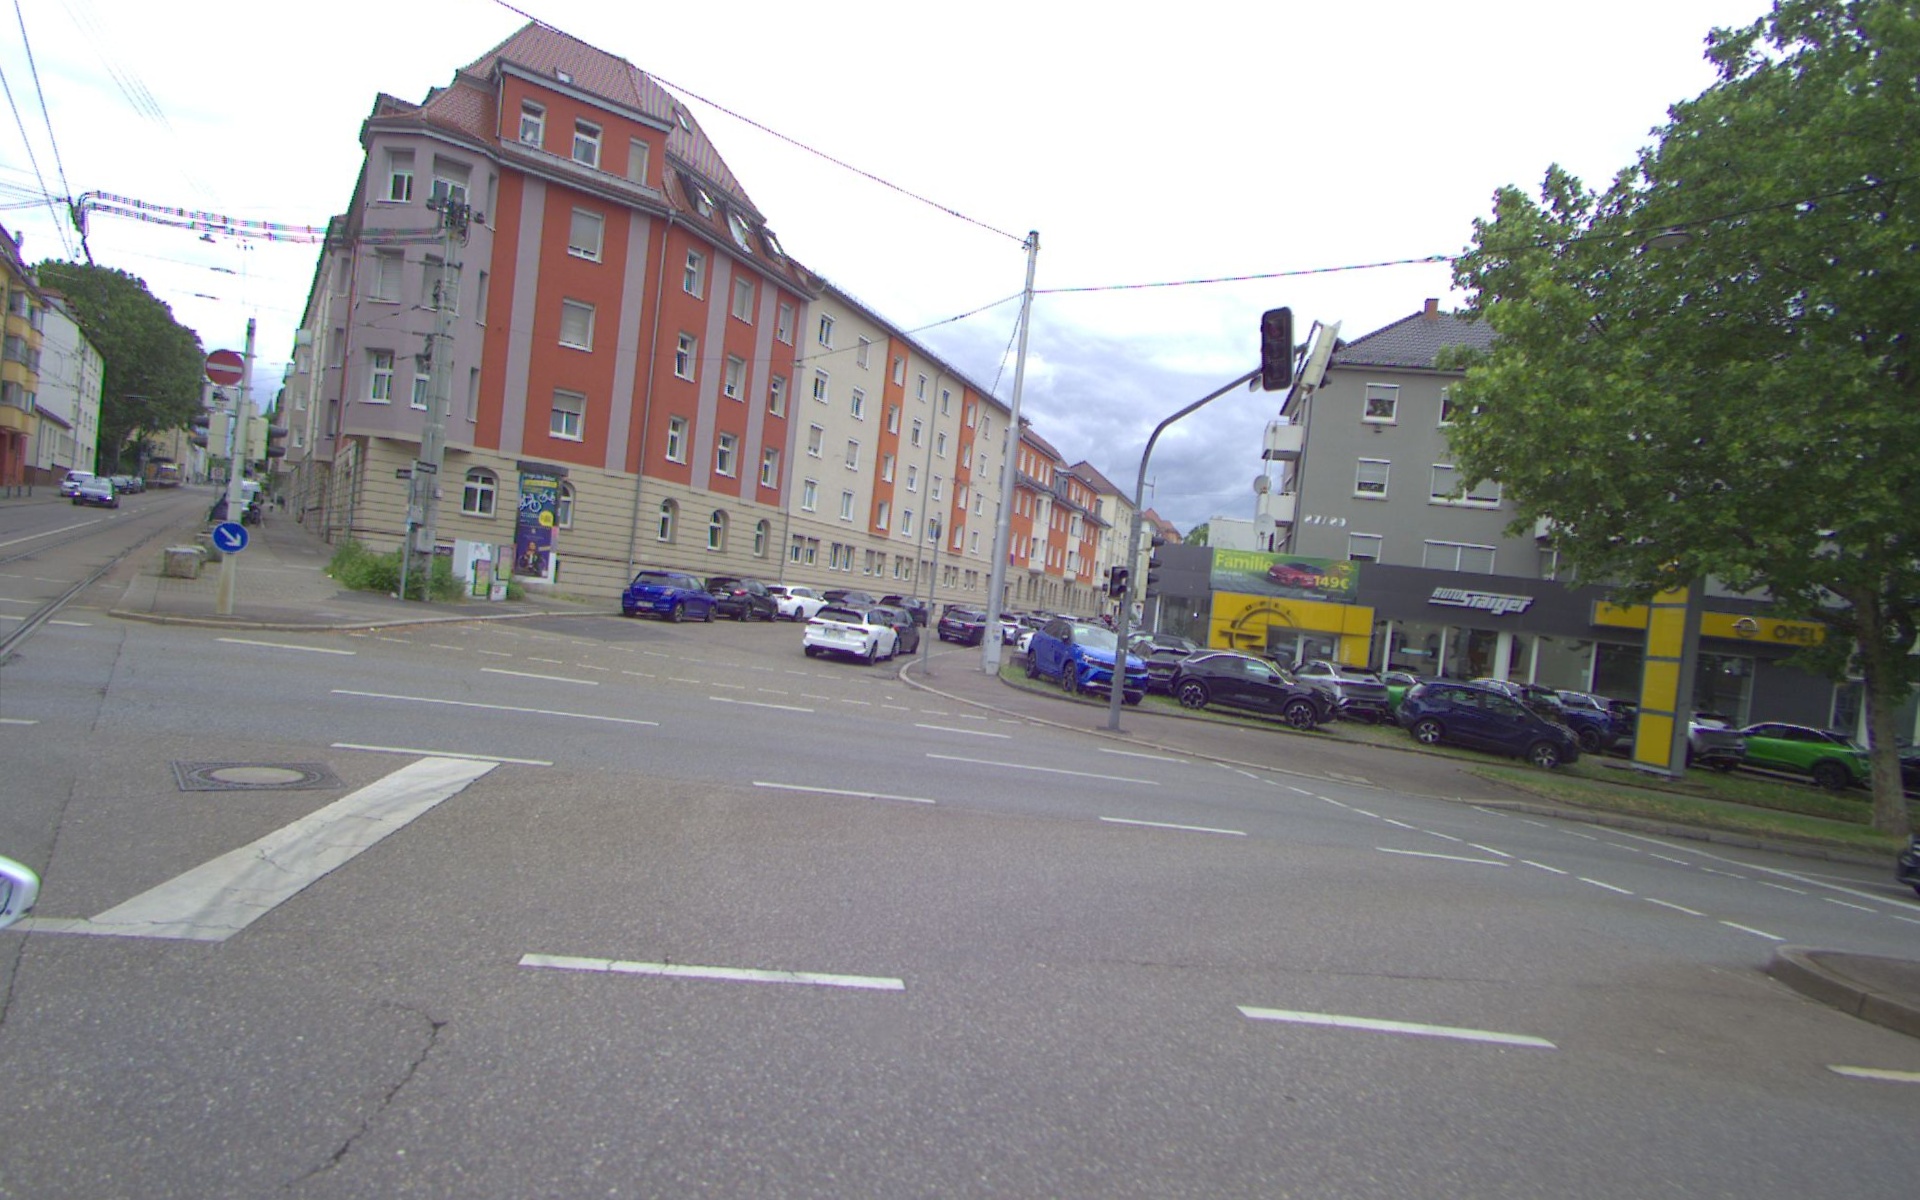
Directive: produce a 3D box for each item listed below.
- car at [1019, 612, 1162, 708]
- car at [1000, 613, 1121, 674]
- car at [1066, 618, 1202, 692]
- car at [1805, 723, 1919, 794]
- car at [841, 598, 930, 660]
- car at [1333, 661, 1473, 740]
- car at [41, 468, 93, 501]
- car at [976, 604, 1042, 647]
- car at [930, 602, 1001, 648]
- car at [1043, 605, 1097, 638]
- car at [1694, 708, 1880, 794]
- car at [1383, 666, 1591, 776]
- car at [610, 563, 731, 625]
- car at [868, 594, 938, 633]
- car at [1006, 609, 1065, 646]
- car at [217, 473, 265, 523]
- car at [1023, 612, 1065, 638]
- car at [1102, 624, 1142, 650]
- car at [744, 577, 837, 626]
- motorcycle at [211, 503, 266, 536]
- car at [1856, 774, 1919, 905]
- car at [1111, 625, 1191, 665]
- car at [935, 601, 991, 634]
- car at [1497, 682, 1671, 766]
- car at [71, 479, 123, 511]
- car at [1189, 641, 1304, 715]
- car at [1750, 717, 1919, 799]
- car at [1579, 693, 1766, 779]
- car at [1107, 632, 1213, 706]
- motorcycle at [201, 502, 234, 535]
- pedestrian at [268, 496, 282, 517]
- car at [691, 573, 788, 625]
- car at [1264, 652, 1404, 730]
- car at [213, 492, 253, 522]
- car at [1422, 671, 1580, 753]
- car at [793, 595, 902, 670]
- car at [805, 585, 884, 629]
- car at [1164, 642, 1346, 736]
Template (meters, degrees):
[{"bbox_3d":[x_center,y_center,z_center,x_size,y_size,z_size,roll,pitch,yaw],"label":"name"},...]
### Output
[{"bbox_3d":[2.995,1.358,24.085,1.801,1.597,4.245,9,1,-14],"label":"car"},{"bbox_3d":[3.723,1.570,36.878,4.040,1.554,1.794,9,1,13],"label":"car"},{"bbox_3d":[5.790,1.811,33.806,4.166,1.803,1.712,8,1,5],"label":"car"},{"bbox_3d":[26.732,4.615,28.467,1.849,1.523,3.954,7,0,-40],"label":"car"},{"bbox_3d":[-2.279,0.866,31.910,1.882,1.554,4.141,8,1,7],"label":"car"},{"bbox_3d":[12.404,2.768,28.498,1.830,1.569,3.997,8,0,-4],"label":"car"},{"bbox_3d":[-59.950,-7.728,67.593,1.983,1.712,3.961,9,-1,-35],"label":"car"},{"bbox_3d":[2.374,1.228,47.813,1.882,1.666,4.141,9,1,18],"label":"car"},{"bbox_3d":[0.297,1.053,42.599,1.882,1.554,4.141,9,1,14],"label":"car"},{"bbox_3d":[6.422,1.275,58.176,1.883,1.554,4.139,9,1,22],"label":"car"},{"bbox_3d":[22.356,4.051,27.278,1.611,1.572,3.567,7,1,-42],"label":"car"},{"bbox_3d":[12.840,2.908,24.823,4.091,1.631,1.825,10,6,18],"label":"car"},{"bbox_3d":[-8.898,-0.161,31.327,1.882,1.554,4.141,8,1,9],"label":"car"},{"bbox_3d":[-2.933,0.759,52.586,1.883,1.653,4.139,9,1,22],"label":"car"},{"bbox_3d":[3.992,1.454,52.659,1.883,1.554,4.140,9,1,19],"label":"car"},{"bbox_3d":[-49.096,-6.893,68.751,2.255,2.925,4.723,8,-1,-35],"label":"car"},{"bbox_3d":[6.425,1.900,76.767,1.883,1.653,4.139,9,1,21],"label":"car"},{"bbox_3d":[11.854,2.696,73.539,1.883,1.554,4.139,9,1,22],"label":"car"},{"bbox_3d":[-6.998,0.110,41.954,1.883,1.653,4.140,9,1,19],"label":"car"},{"bbox_3d":[-38.770,-4.321,54.083,0.690,1.342,2.173,8,-1,44],"label":"motorcycle"},{"bbox_3d":[14.334,3.398,12.787,4.184,1.543,1.999,8,-2,-6],"label":"car"},{"bbox_3d":[10.251,2.418,53.985,3.824,1.554,1.718,9,1,23],"label":"car"},{"bbox_3d":[0.226,1.098,60.948,1.883,1.653,4.139,9,1,21],"label":"car"},{"bbox_3d":[17.186,3.374,27.966,1.831,1.569,3.993,8,0,-8],"label":"car"},{"bbox_3d":[-47.670,-5.775,55.628,1.677,1.342,3.626,9,-1,-35],"label":"car"},{"bbox_3d":[8.214,2.192,29.252,1.830,1.569,3.997,8,0,-4],"label":"car"},{"bbox_3d":[24.732,4.389,27.987,1.742,1.523,3.954,7,0,-40],"label":"car"},{"bbox_3d":[19.520,3.677,27.796,1.831,1.569,3.993,8,0,-8],"label":"car"},{"bbox_3d":[5.576,1.879,28.572,1.830,1.569,3.997,8,0,-4],"label":"car"},{"bbox_3d":[-32.975,-3.636,44.648,0.855,1.346,2.155,-1,6,-45],"label":"motorcycle"},{"bbox_3d":[-60.669,-8.277,89.134,0.671,1.650,0.672,7,-2,-16],"label":"pedestrian"},{"bbox_3d":[-8.018,-0.014,36.996,1.882,1.554,4.142,8,1,9],"label":"car"},{"bbox_3d":[10.415,2.499,28.390,1.832,1.569,3.993,8,0,-9],"label":"car"},{"bbox_3d":[-46.149,-5.886,63.926,1.830,1.587,3.782,9,-1,-35],"label":"car"},{"bbox_3d":[14.797,3.006,27.803,1.830,1.569,3.997,8,0,-4],"label":"car"},{"bbox_3d":[-2.882,0.800,26.709,1.882,1.554,4.141,8,1,6],"label":"car"},{"bbox_3d":[-5.344,0.350,46.959,1.883,1.653,4.140,9,1,19],"label":"car"},{"bbox_3d":[7.193,2.107,24.629,3.925,1.495,1.829,10,1,18],"label":"car"}]
